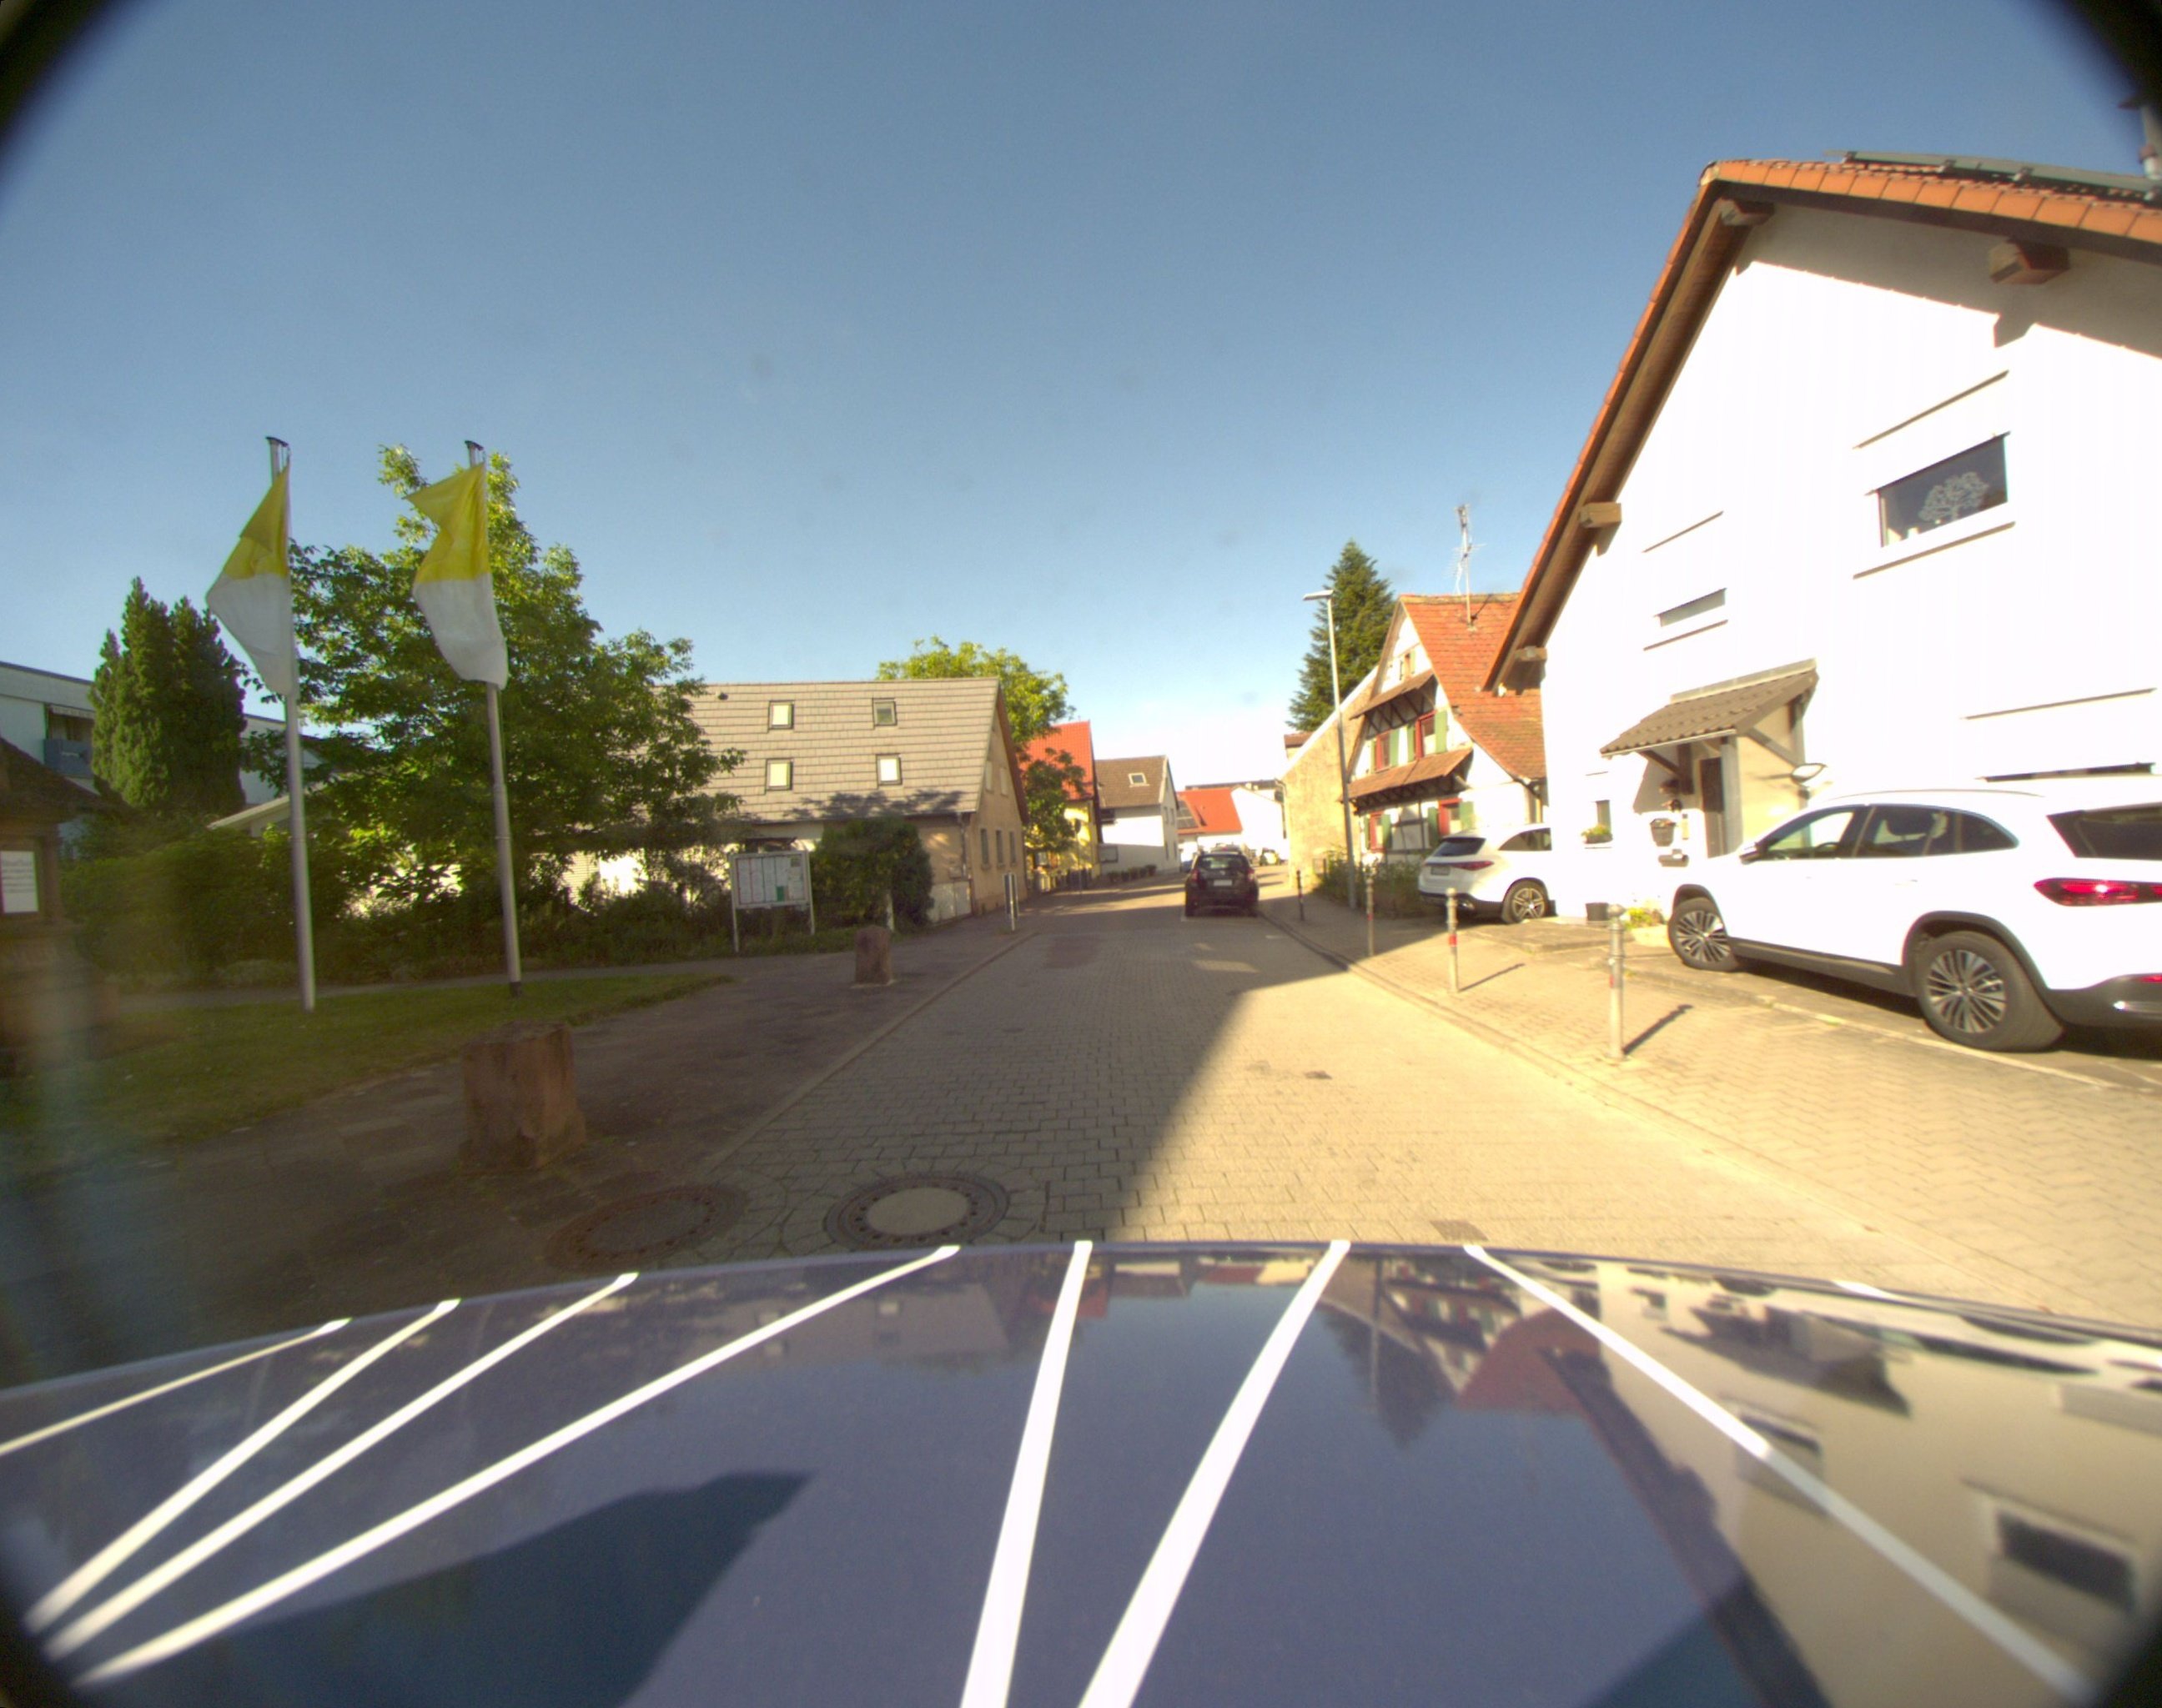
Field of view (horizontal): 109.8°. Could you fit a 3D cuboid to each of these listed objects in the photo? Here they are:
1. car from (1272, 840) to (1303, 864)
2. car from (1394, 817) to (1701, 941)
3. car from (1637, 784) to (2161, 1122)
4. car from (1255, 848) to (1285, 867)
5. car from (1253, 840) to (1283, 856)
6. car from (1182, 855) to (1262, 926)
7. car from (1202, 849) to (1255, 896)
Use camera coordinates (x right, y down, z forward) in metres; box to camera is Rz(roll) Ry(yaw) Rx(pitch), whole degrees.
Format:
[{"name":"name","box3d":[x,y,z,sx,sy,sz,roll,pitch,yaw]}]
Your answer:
[{"name":"car","box3d":[20.339,-0.210,74.629,2.057,2.233,4.867,-3,0,24]},{"name":"car","box3d":[7.846,0.399,13.032,3.999,1.579,1.999,-5,0,-6]},{"name":"car","box3d":[6.380,0.401,5.688,1.820,1.586,4.449,-5,0,12]},{"name":"car","box3d":[17.252,0.269,69.191,1.890,1.581,4.006,-3,0,25]},{"name":"car","box3d":[26.754,-0.841,108.718,3.992,2.001,1.844,-3,0,19]},{"name":"car","box3d":[3.670,0.875,20.289,1.836,1.661,4.355,-1,0,8]},{"name":"car","box3d":[6.124,0.715,31.259,1.835,1.779,4.357,-1,0,14]}]
